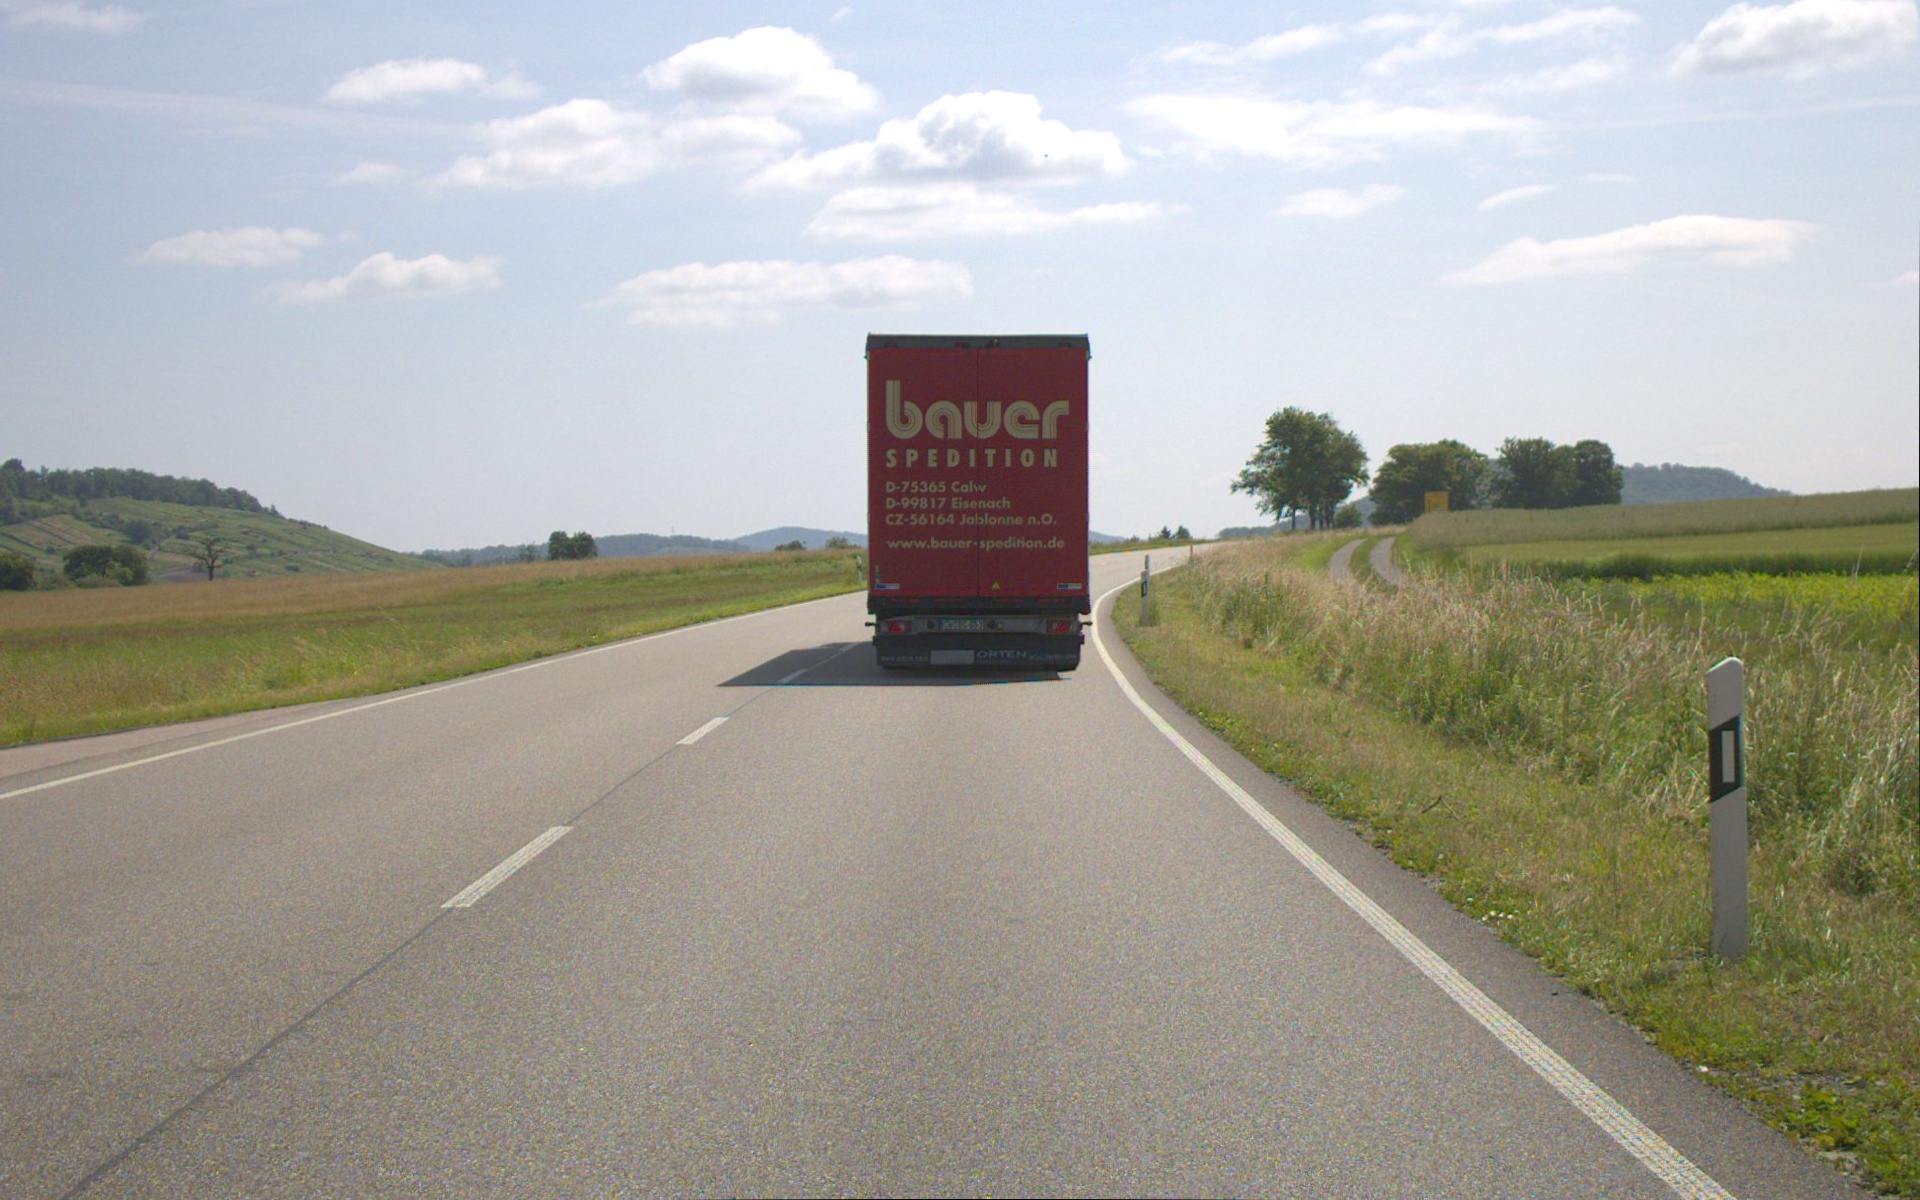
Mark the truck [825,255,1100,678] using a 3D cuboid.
[{"bbox_3d":[-0.019,-1.573,43.563,2.975,4.697,9.366,2,1,-1],"label":"truck"}]
